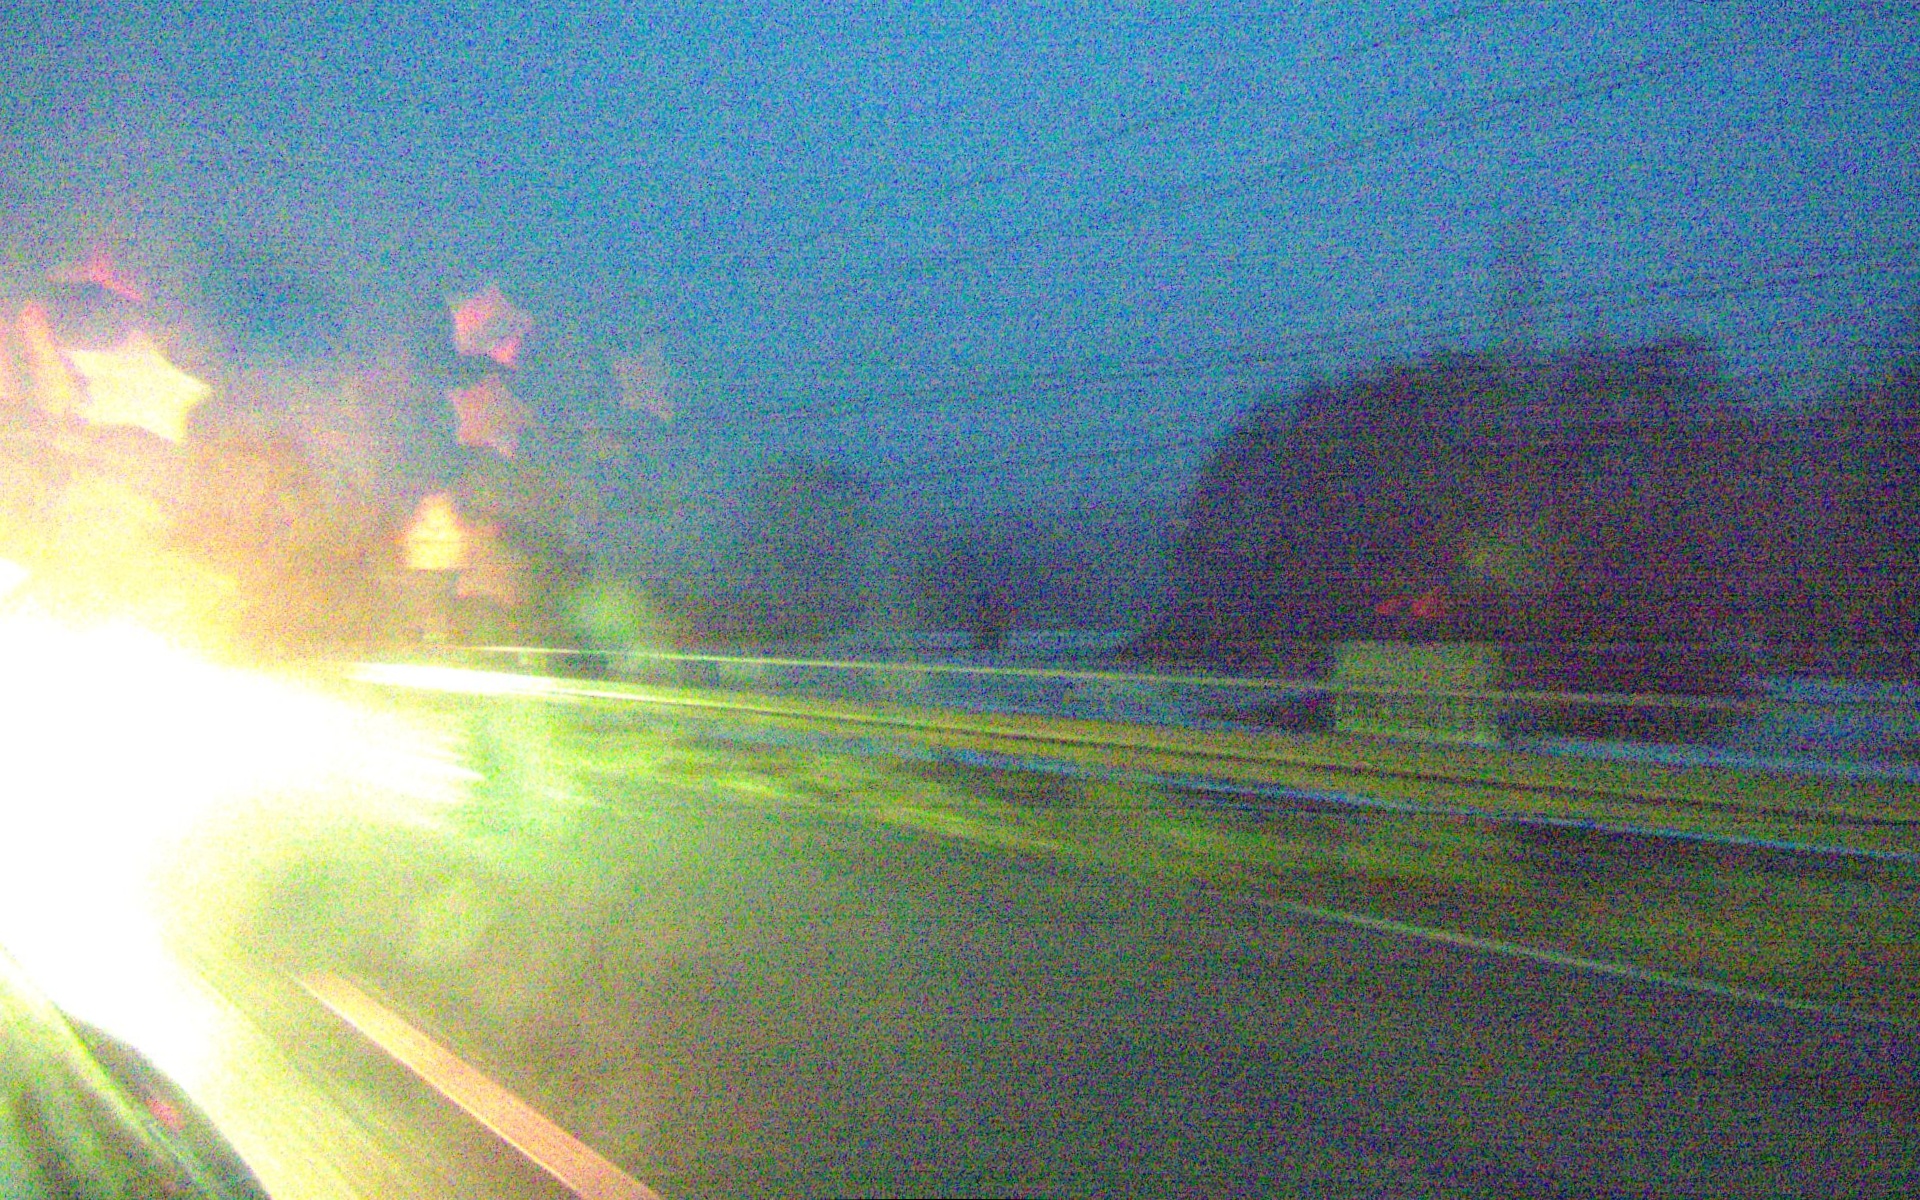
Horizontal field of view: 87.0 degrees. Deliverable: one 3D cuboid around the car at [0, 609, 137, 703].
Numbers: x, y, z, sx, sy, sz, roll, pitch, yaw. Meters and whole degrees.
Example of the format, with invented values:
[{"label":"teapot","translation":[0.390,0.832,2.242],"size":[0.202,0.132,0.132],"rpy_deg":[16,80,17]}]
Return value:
[{"label":"car","translation":[-17.651,1.011,19.756],"size":[3.998,1.659,1.811],"rpy_deg":[-1,-1,41]}]
